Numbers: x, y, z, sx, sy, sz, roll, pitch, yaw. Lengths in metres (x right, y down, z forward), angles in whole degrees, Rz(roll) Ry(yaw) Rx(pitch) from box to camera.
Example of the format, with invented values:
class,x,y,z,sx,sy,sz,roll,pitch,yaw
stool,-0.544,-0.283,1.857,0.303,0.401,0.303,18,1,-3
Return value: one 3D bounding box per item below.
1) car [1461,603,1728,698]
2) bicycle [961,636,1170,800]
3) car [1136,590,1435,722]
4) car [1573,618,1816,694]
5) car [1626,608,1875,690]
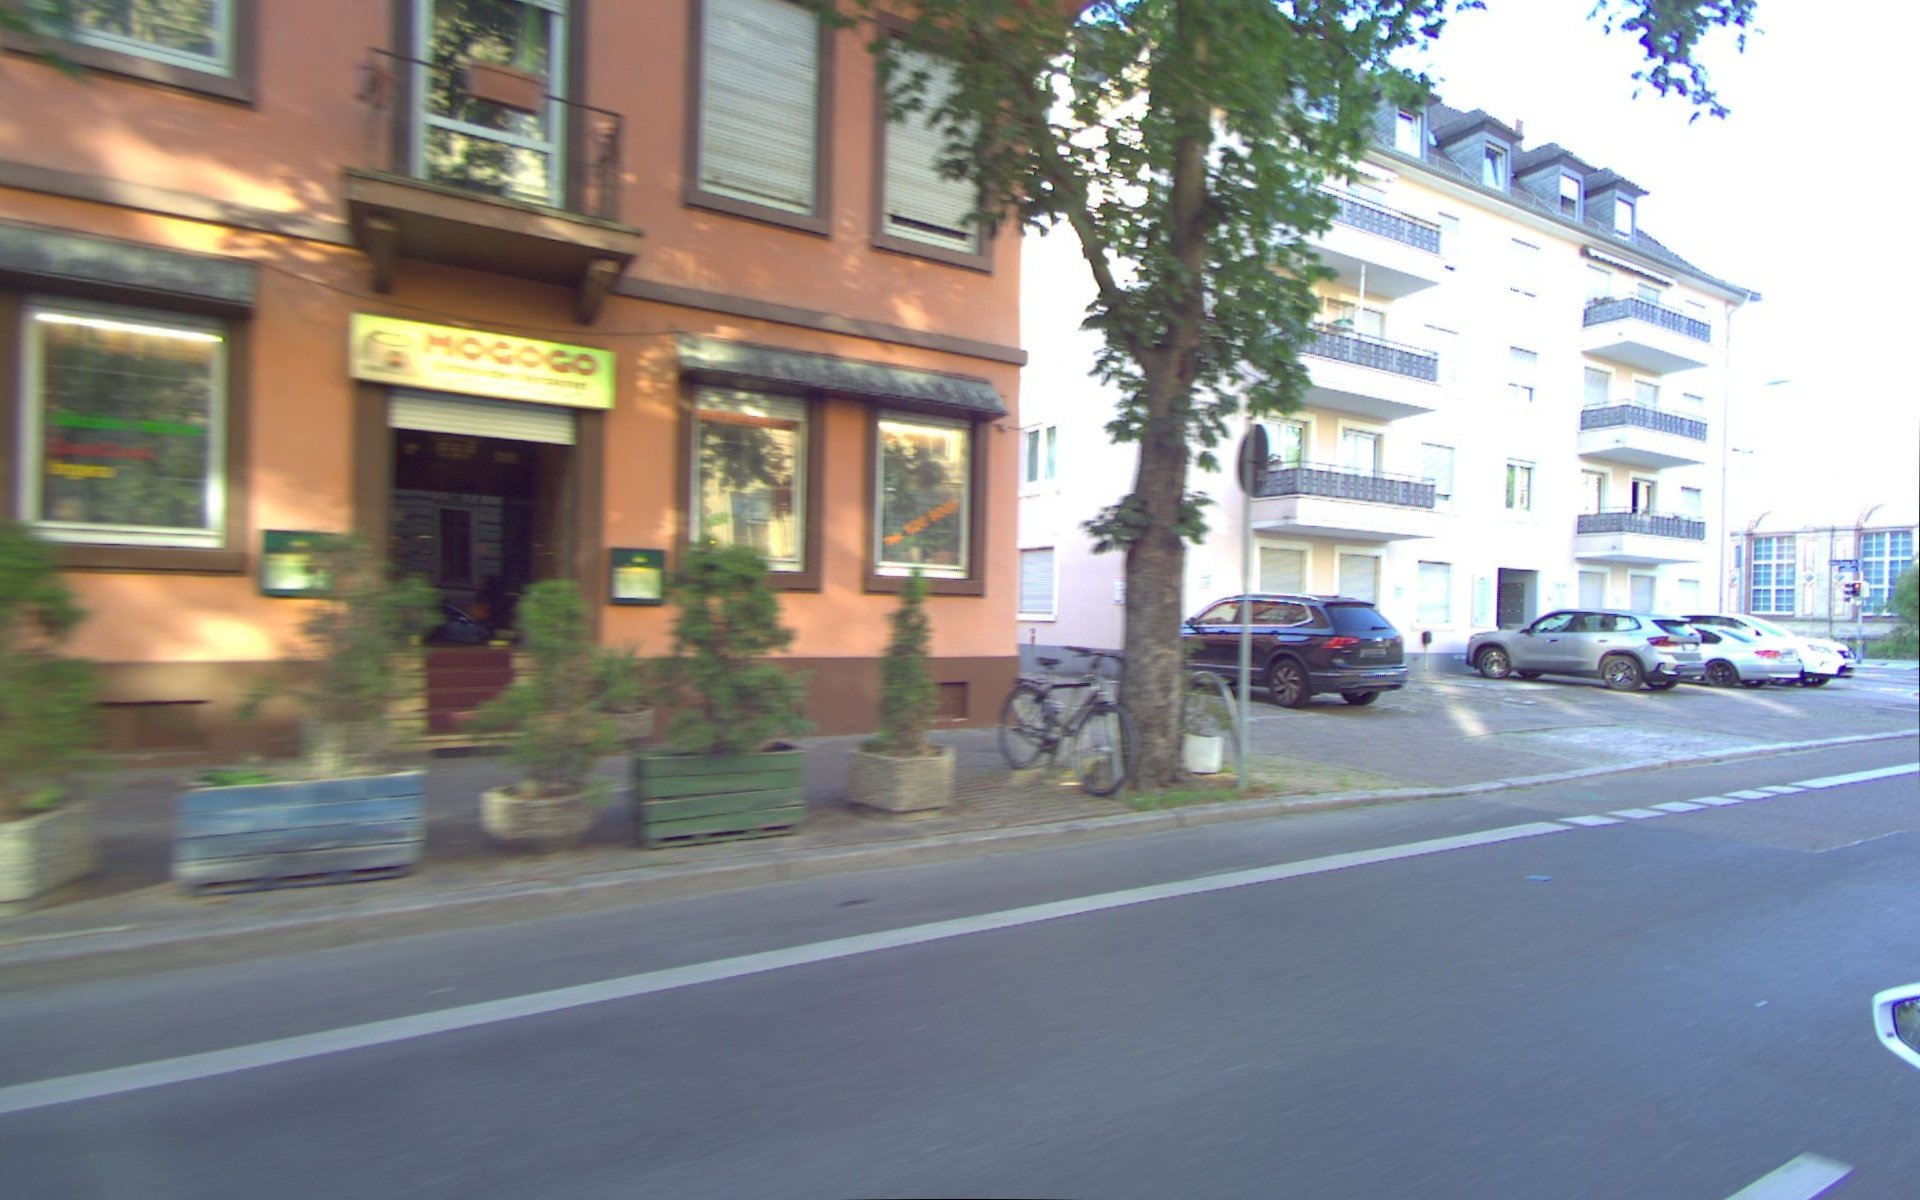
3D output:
class,x,y,z,sx,sy,sz,roll,pitch,yaw
car,13.300,0.982,21.357,1.894,1.627,4.395,1,1,-31
bicycle,0.806,0.894,8.240,0.605,1.119,1.853,1,0,-36
car,5.007,0.763,16.096,1.843,1.687,4.395,1,1,-31
car,17.062,1.234,23.551,1.716,1.399,4.244,1,1,-31
car,19.408,1.137,24.886,1.920,1.663,4.417,1,1,-31
